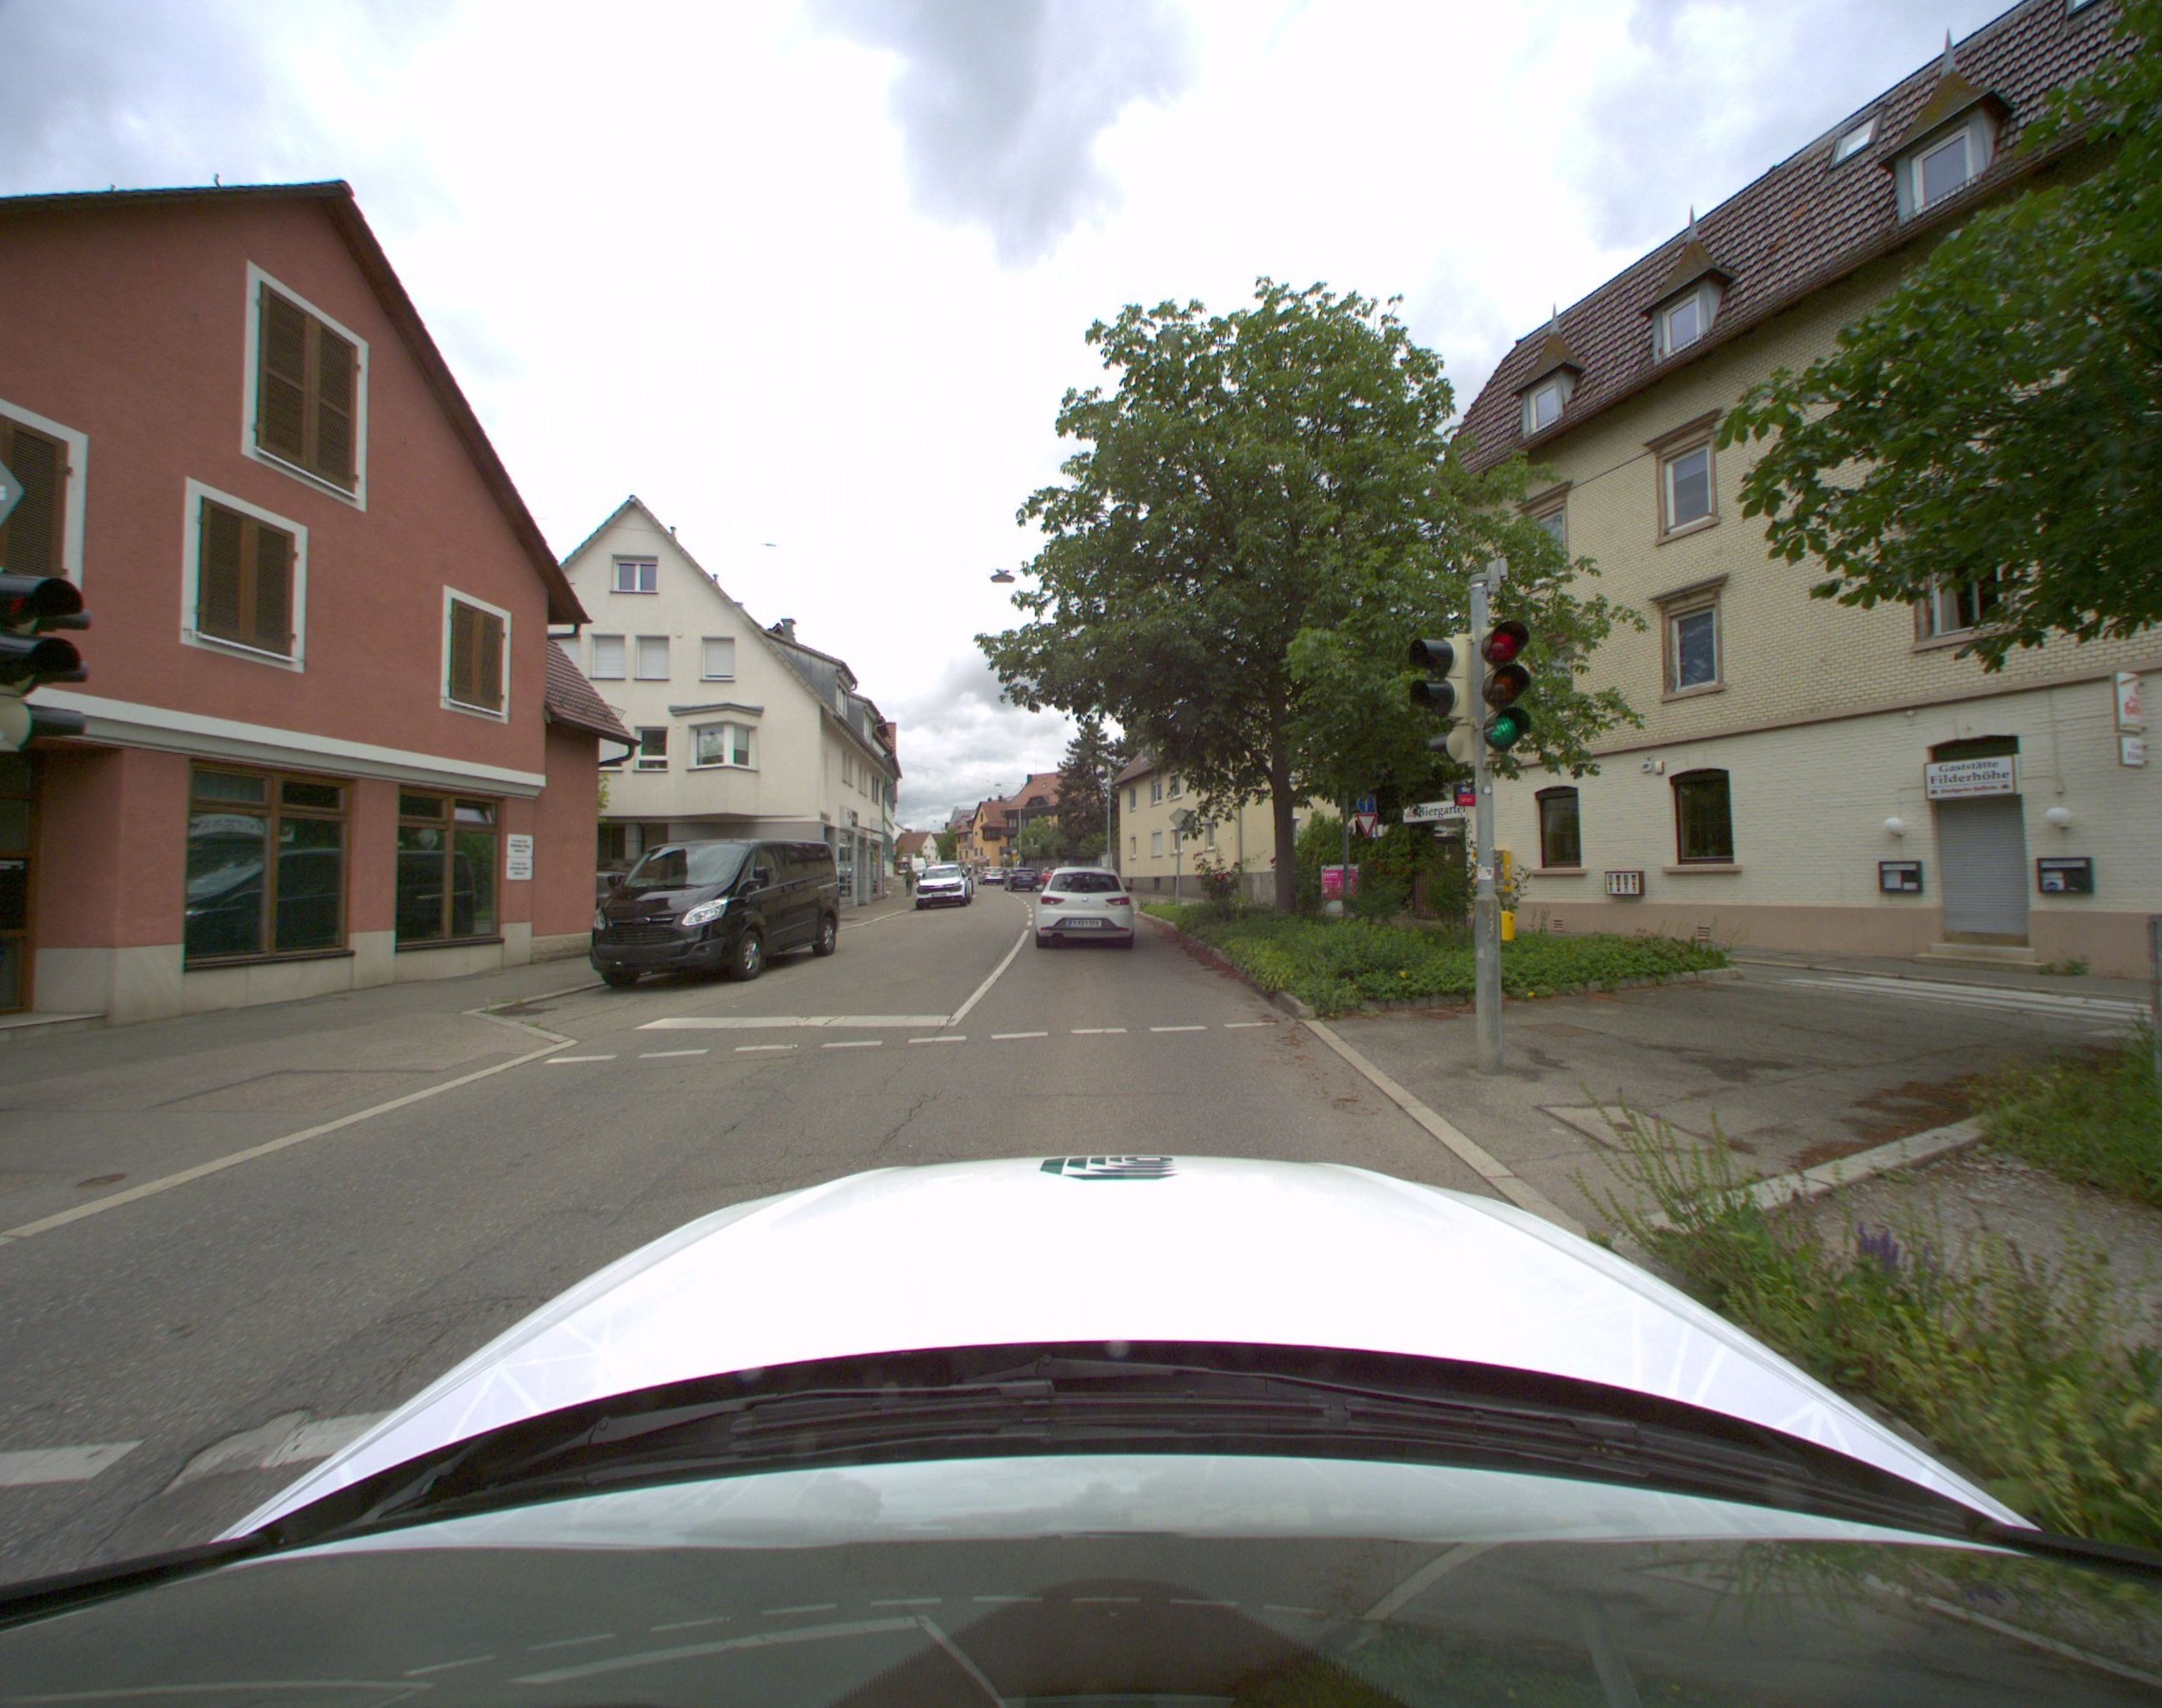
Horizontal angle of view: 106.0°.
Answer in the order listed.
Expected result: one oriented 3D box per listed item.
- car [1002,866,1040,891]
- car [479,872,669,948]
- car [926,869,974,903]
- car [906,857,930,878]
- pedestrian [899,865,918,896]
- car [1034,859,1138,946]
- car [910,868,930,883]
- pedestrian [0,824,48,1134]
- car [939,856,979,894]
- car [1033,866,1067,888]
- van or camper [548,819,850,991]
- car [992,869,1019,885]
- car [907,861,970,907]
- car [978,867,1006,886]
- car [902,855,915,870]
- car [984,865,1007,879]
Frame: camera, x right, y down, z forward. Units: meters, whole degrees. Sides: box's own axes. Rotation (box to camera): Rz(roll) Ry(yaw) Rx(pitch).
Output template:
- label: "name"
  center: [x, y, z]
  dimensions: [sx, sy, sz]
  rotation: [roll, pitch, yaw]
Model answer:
- label: "car"
  center: [-3.655, 1.436, 49.002]
  dimensions: [1.760, 1.452, 3.983]
  rotation: [0, -1, -12]
- label: "car"
  center: [-10.408, 1.121, 16.870]
  dimensions: [2.816, 1.475, 1.745]
  rotation: [-1, -1, 5]
- label: "car"
  center: [-5.871, 1.424, 37.007]
  dimensions: [1.996, 1.436, 3.908]
  rotation: [0, -1, -7]
- label: "car"
  center: [-22.115, 1.813, 110.831]
  dimensions: [2.146, 2.687, 5.542]
  rotation: [1, -1, -1]
- label: "pedestrian"
  center: [-8.719, 1.333, 41.129]
  dimensions: [0.805, 1.500, 0.973]
  rotation: [2, -2, -8]
- label: "car"
  center: [-0.016, 0.851, 15.704]
  dimensions: [1.754, 1.452, 3.995]
  rotation: [0, -1, -3]
- label: "car"
  center: [-16.977, 2.282, 85.851]
  dimensions: [1.802, 1.479, 4.031]
  rotation: [-3, 0, -14]
- label: "pedestrian"
  center: [-6.710, 0.719, 4.739]
  dimensions: [0.881, 1.785, 0.808]
  rotation: [0, 0, 35]
- label: "car"
  center: [-7.021, 1.183, 47.176]
  dimensions: [1.991, 2.013, 4.659]
  rotation: [-3, 0, -6]
- label: "car"
  center: [-2.225, 1.648, 57.816]
  dimensions: [1.760, 1.452, 3.983]
  rotation: [2, -2, -12]
- label: "van or camper"
  center: [-5.342, 0.698, 12.319]
  dimensions: [2.065, 2.006, 4.859]
  rotation: [-2, -2, 2]
- label: "car"
  center: [-7.144, 2.183, 76.765]
  dimensions: [1.762, 1.452, 3.978]
  rotation: [0, -1, -16]
- label: "car"
  center: [-5.500, 1.119, 31.896]
  dimensions: [1.995, 1.633, 4.848]
  rotation: [0, -1, -5]
- label: "car"
  center: [-7.244, 1.804, 65.931]
  dimensions: [1.761, 1.452, 3.980]
  rotation: [0, -1, -15]
- label: "car"
  center: [-30.924, 1.523, 146.204]
  dimensions: [2.154, 2.687, 5.371]
  rotation: [1, -1, -13]
- label: "car"
  center: [-9.212, 1.944, 87.527]
  dimensions: [1.762, 1.452, 3.978]
  rotation: [0, -1, -16]
